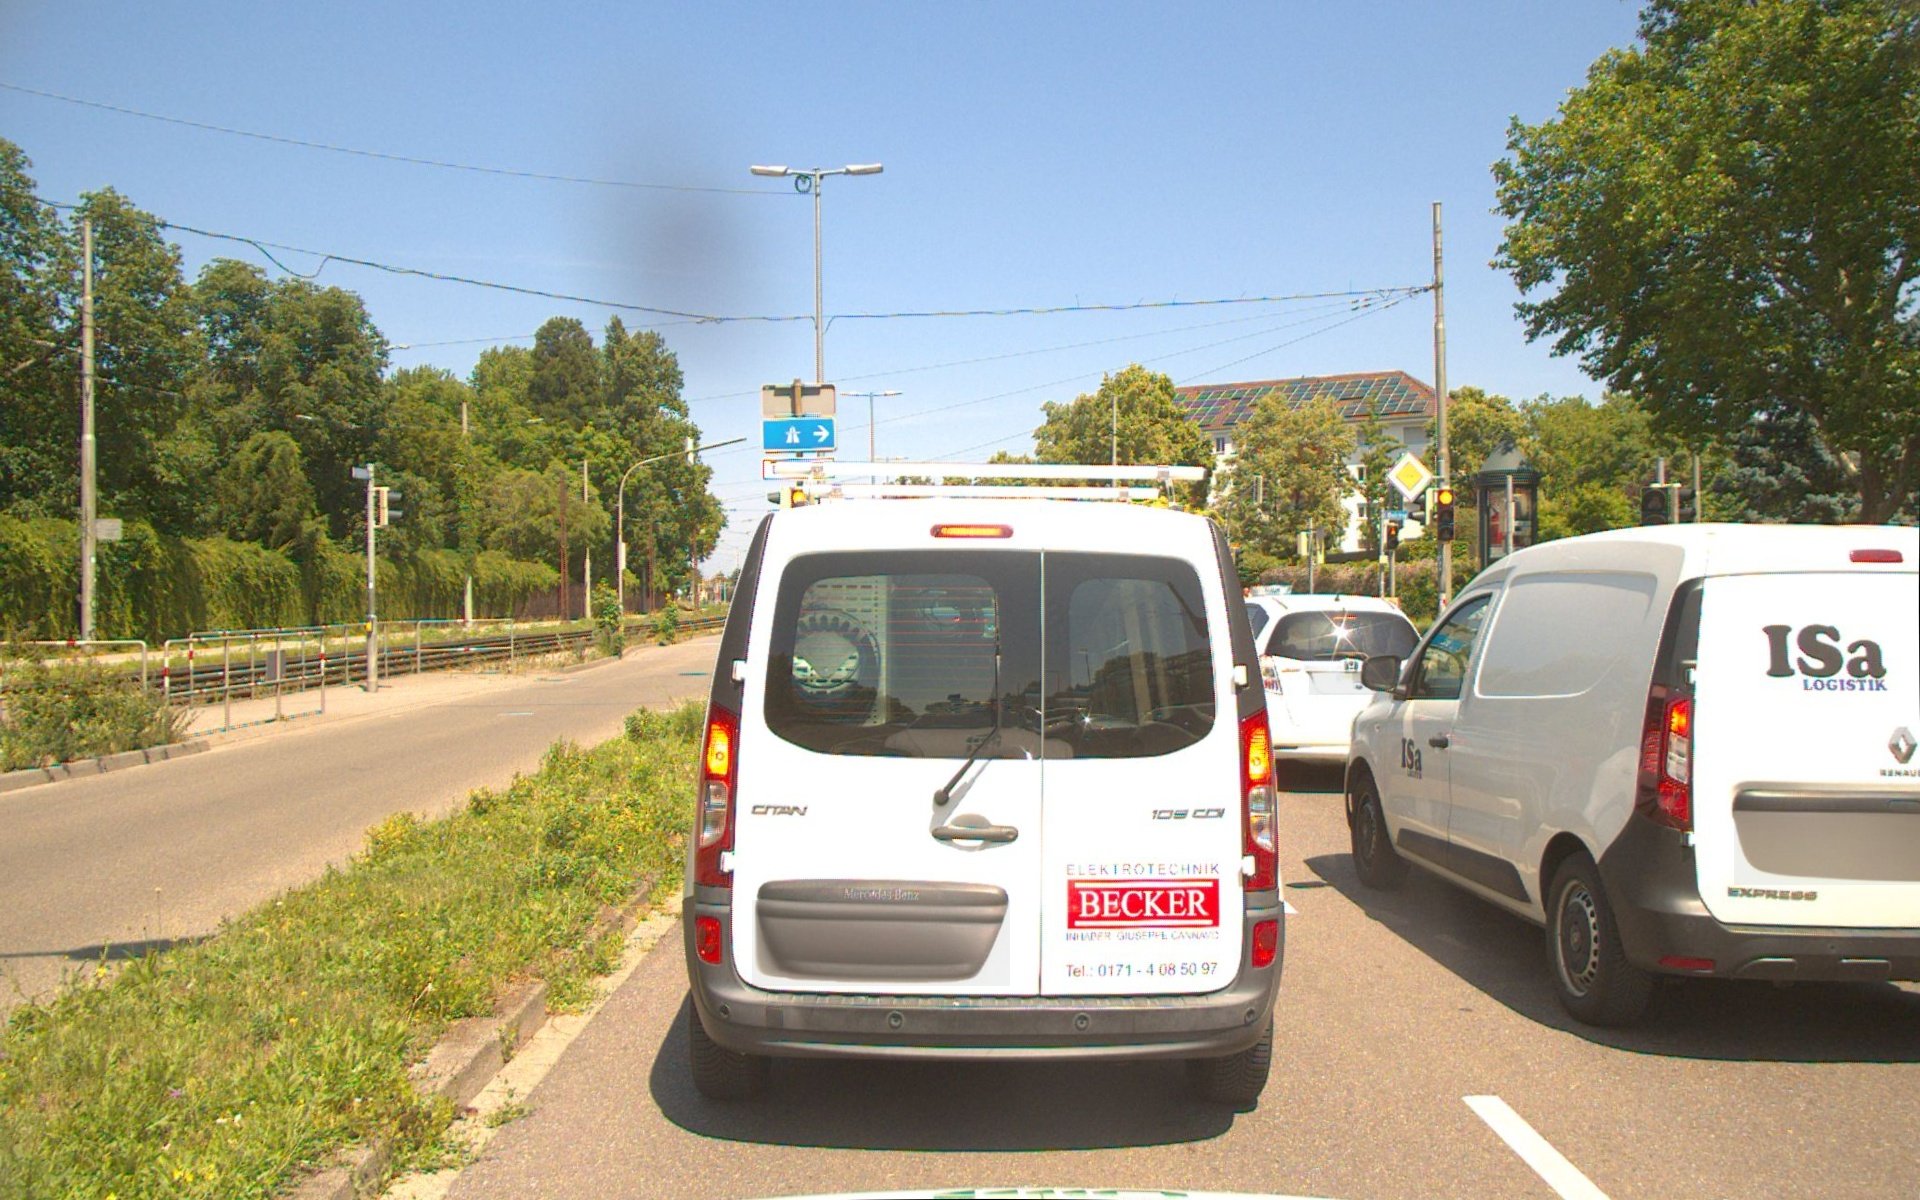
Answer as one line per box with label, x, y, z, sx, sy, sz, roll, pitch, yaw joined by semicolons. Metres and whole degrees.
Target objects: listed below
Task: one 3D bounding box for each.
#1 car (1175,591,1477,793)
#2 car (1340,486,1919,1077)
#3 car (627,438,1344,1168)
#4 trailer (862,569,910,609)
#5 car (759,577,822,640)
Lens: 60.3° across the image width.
car;3.059;0.699;14.630;1.720;1.512;3.999;1;0;-1
car;3.037;0.571;7.257;1.676;1.862;4.012;0;0;-2
car;0.025;0.525;6.192;1.829;1.868;3.847;1;0;-2
trailer;-7.912;-1.124;175.568;3.467;4.121;8.946;0;0;-13
car;-5.805;0.268;56.438;1.956;2.049;3.992;0;0;-8
